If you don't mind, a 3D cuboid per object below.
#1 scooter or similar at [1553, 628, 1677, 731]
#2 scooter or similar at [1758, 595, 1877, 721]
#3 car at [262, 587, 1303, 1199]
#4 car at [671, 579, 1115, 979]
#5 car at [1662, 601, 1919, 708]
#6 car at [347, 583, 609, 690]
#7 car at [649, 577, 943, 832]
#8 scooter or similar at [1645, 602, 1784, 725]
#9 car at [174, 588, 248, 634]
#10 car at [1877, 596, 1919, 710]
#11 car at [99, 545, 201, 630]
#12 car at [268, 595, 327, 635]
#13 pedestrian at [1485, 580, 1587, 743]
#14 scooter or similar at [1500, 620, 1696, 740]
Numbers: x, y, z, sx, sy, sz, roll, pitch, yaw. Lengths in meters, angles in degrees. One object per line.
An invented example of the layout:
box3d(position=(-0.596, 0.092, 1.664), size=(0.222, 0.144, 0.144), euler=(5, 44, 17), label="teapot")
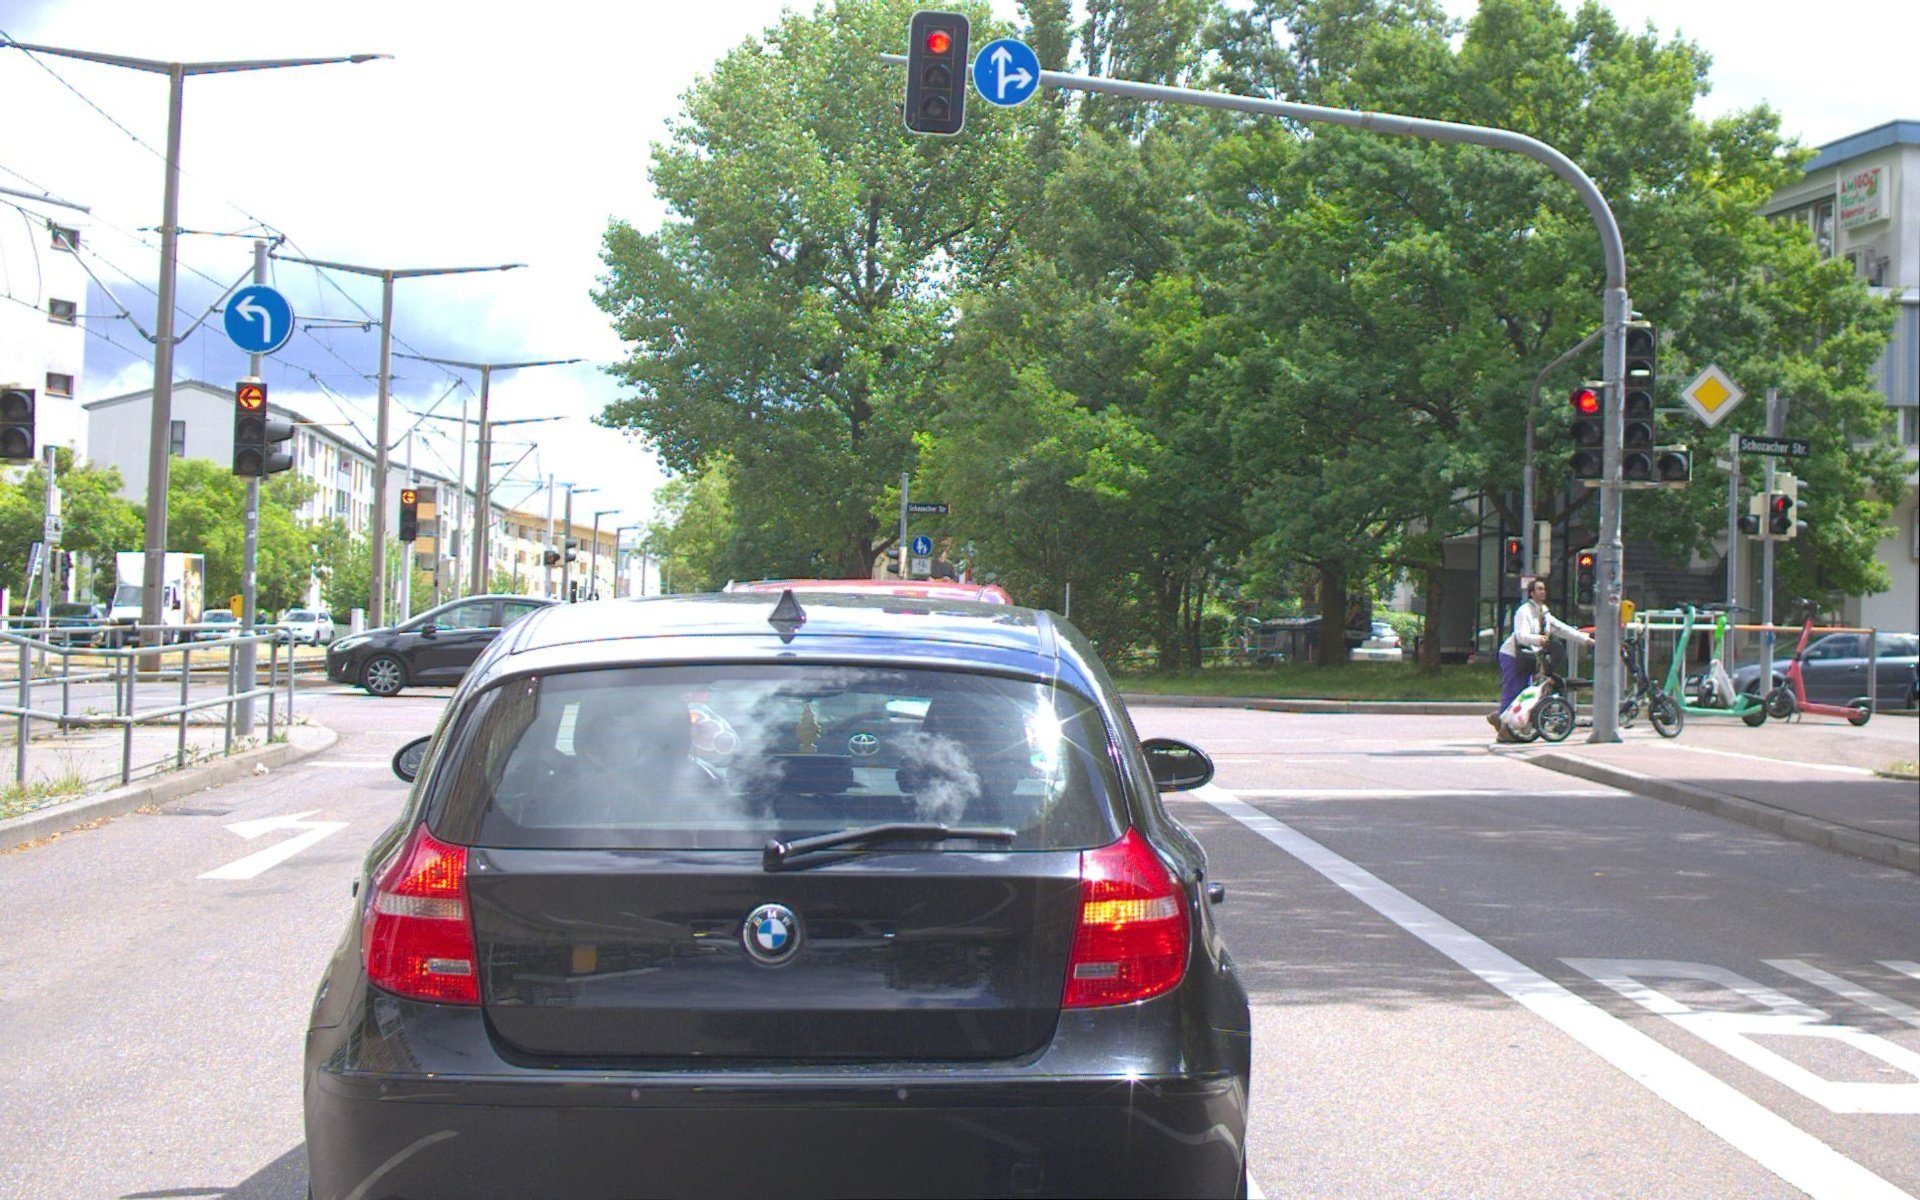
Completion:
box3d(position=(6.183, 0.748, 32.441), size=(1.119, 0.954, 0.300), euler=(0, 0, -16), label="scooter or similar")
box3d(position=(8.603, 0.580, 34.497), size=(1.106, 1.253, 0.332), euler=(0, 0, -12), label="scooter or similar")
box3d(position=(-0.253, 0.703, 7.258), size=(1.654, 1.414, 3.517), euler=(1, 1, 1), label="car")
box3d(position=(-0.239, 0.639, 14.236), size=(1.594, 1.414, 3.517), euler=(1, 1, 0), label="car")
box3d(position=(12.720, 0.808, 51.445), size=(3.986, 1.521, 1.676), euler=(1, 0, -9), label="car")
box3d(position=(-6.834, 0.514, 48.759), size=(3.603, 1.457, 1.617), euler=(0, 0, -8), label="car")
box3d(position=(-0.999, 0.584, 21.318), size=(1.654, 1.414, 3.517), euler=(1, 1, -2), label="car")
box3d(position=(7.379, 0.621, 33.635), size=(1.287, 1.185, 0.385), euler=(0, 0, -16), label="scooter or similar")
box3d(position=(-27.062, 0.374, 124.353), size=(1.966, 1.590, 4.000), euler=(1, 0, -3), label="car")
box3d(position=(15.112, 0.765, 48.916), size=(3.576, 1.595, 1.712), euler=(1, 0, -12), label="car")
box3d(position=(-26.018, -0.426, 110.598), size=(2.139, 2.631, 5.359), euler=(1, 0, -2), label="car")
box3d(position=(-27.946, 0.622, 145.017), size=(1.966, 1.590, 4.001), euler=(1, 0, -4), label="car")
box3d(position=(5.219, 0.545, 31.106), size=(0.865, 1.438, 0.798), euler=(1, 0, 12), label="pedestrian")
box3d(position=(5.724, 0.712, 30.818), size=(1.780, 1.047, 0.410), euler=(1, 1, -23), label="scooter or similar")
